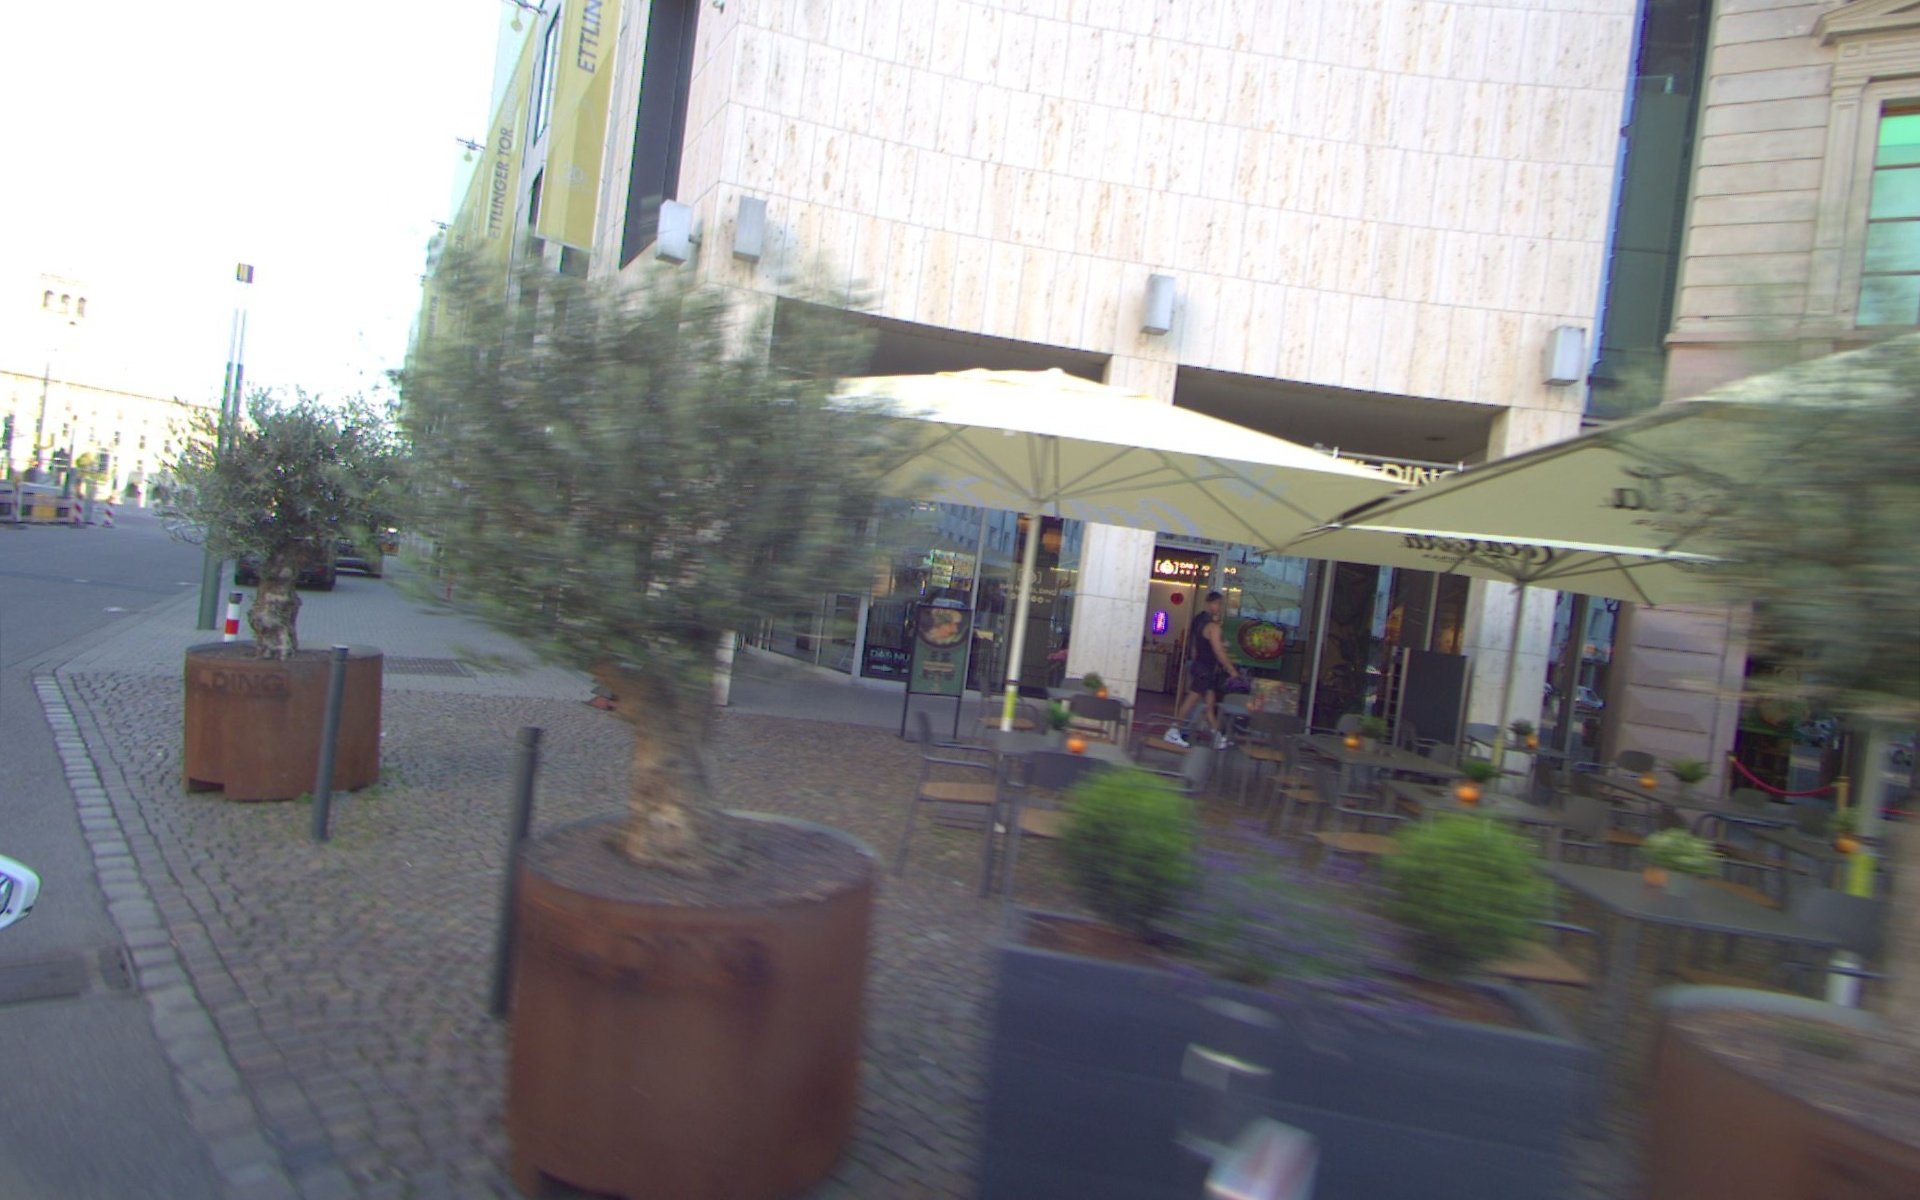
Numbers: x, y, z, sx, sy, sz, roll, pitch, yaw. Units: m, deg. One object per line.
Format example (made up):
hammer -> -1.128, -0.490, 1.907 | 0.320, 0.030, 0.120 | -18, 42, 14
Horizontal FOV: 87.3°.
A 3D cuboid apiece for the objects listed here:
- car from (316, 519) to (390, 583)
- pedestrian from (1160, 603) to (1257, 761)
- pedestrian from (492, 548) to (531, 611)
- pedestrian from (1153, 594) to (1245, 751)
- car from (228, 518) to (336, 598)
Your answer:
car -> -18.443, -1.507, 30.543 | 1.754, 1.659, 4.022 | 4, 2, -32
pedestrian -> 2.971, 0.968, 12.082 | 0.706, 1.767, 0.668 | 7, 1, -10
pedestrian -> -13.174, -0.608, 29.539 | 0.760, 1.703, 0.868 | 7, 2, -33
pedestrian -> 3.032, 0.904, 12.818 | 0.706, 1.885, 0.668 | 7, 1, -10
car -> -15.129, -0.973, 22.627 | 1.781, 1.510, 4.157 | 4, 2, -32
